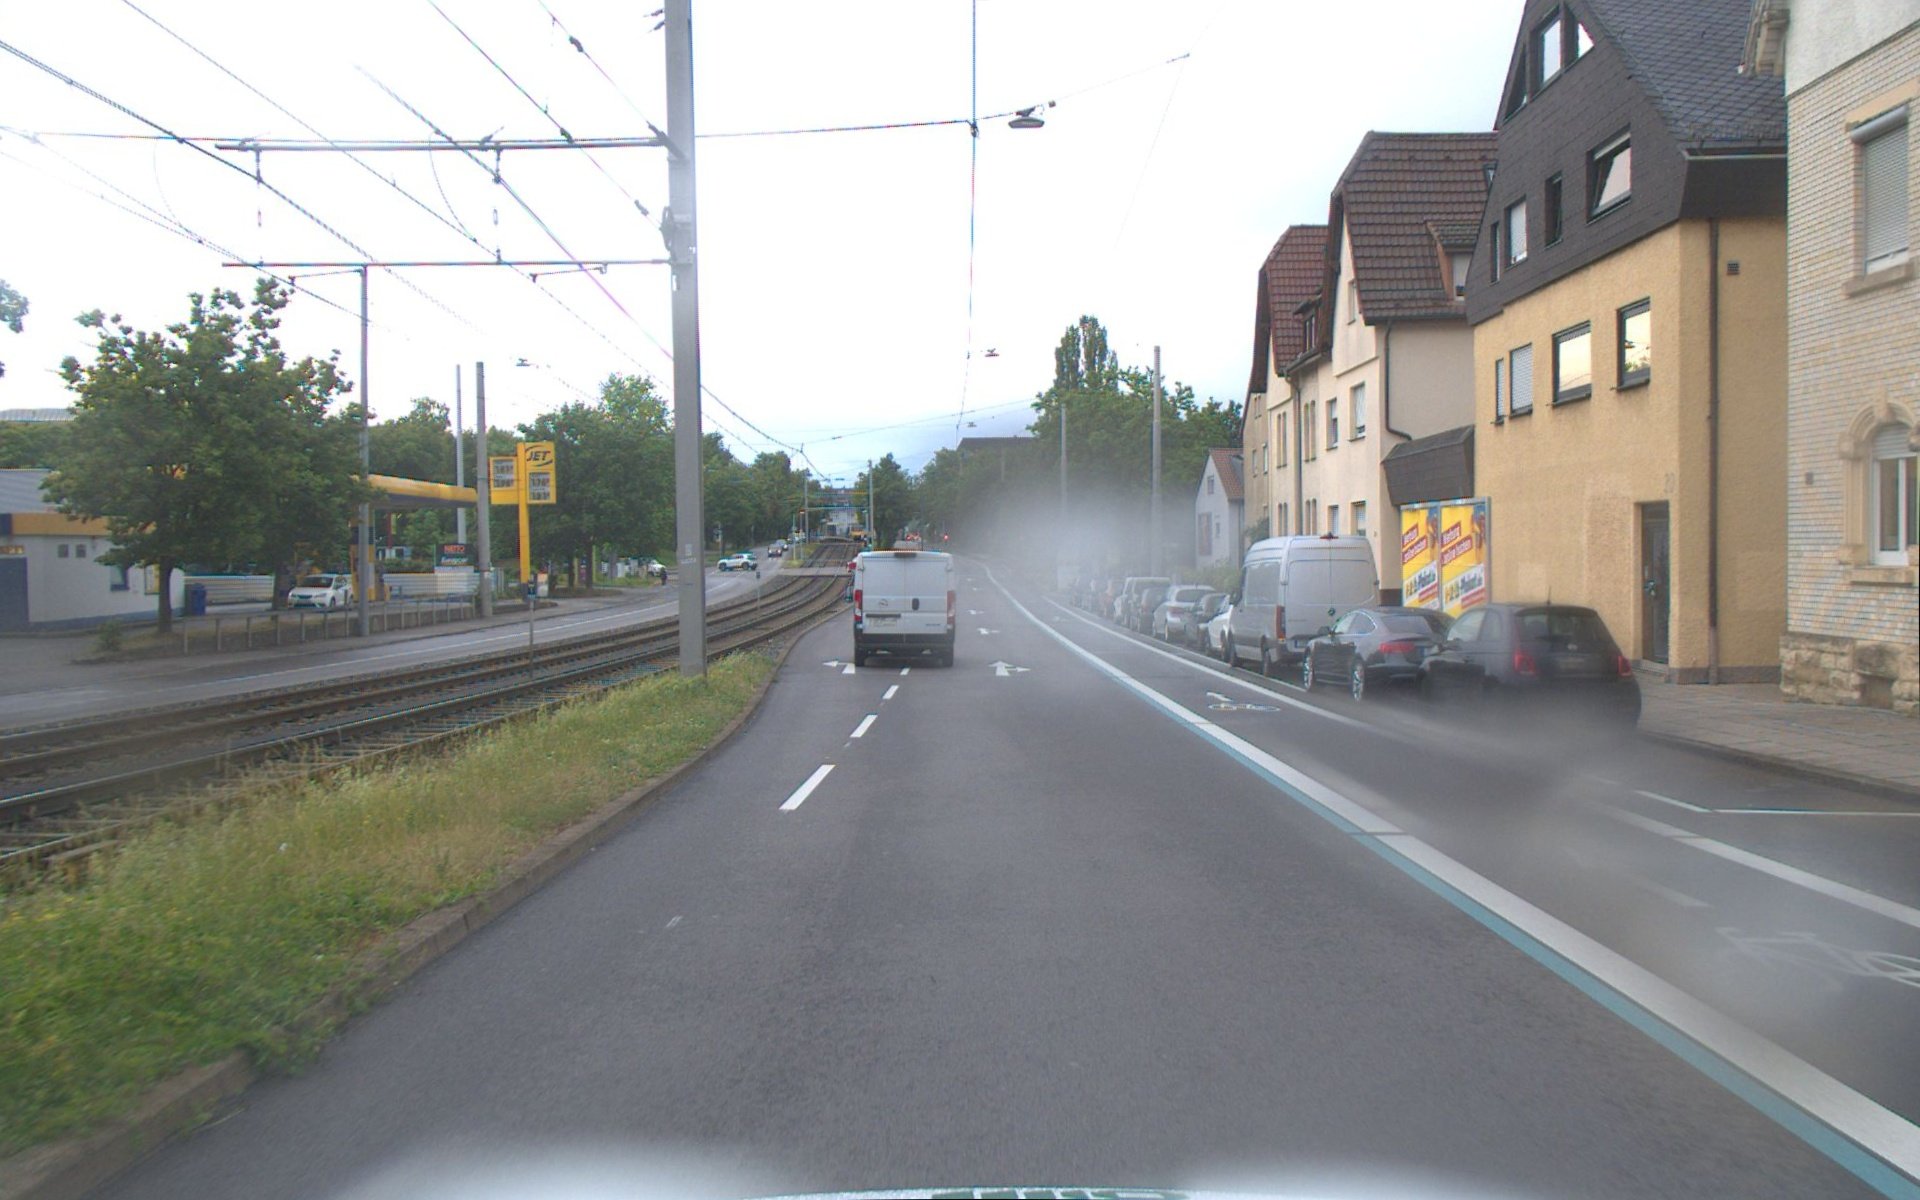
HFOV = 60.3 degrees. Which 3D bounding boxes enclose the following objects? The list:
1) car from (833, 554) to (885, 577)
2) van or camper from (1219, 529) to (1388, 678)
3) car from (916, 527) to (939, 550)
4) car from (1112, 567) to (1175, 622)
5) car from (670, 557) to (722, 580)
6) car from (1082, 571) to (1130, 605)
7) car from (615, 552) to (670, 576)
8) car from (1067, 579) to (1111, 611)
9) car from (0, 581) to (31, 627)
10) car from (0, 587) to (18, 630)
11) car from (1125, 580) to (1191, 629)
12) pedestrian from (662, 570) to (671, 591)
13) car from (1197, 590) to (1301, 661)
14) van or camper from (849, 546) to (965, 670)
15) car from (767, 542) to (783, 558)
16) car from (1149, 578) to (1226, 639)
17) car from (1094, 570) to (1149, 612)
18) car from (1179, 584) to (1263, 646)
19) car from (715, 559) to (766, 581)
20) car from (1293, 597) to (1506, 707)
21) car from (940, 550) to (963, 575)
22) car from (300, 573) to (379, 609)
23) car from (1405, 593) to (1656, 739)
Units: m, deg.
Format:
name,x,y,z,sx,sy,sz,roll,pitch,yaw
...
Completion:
name,x,y,z,sx,sy,sz,roll,pitch,yaw
car,-9.092,-3.100,148.667,4.439,2.049,1.992,1,0,37
van or camper,6.556,-0.008,32.318,1.953,2.608,6.043,1,1,0
car,-3.151,-5.900,159.392,1.954,2.049,3.997,1,0,-4
car,6.537,-0.226,59.269,1.711,1.839,3.954,0,2,-2
car,-25.166,-2.995,157.650,4.420,2.049,2.000,1,0,21
car,6.756,-0.567,76.859,1.810,1.526,3.953,0,1,-2
car,-28.610,-3.259,149.204,4.416,2.049,2.002,1,0,10
car,6.420,-0.260,82.696,1.810,1.526,3.953,0,1,-2
car,-32.558,0.117,54.036,3.718,1.479,1.539,1,0,-26
car,-35.374,0.265,58.233,3.718,1.505,1.562,1,0,-26
car,6.408,0.108,53.832,1.613,1.471,3.954,1,1,-1
pedestrian,-21.975,-1.469,123.965,0.602,1.501,0.641,-1,1,-14
car,6.641,0.541,38.404,1.674,1.471,4.041,1,1,0
van or camper,-1.153,0.143,33.453,2.155,2.292,4.680,1,0,-4
car,-22.353,-6.053,199.842,1.656,1.741,3.775,1,0,-2
car,6.603,0.207,48.264,1.613,1.643,4.104,1,1,-1
car,6.726,-0.398,69.229,1.810,1.674,3.954,0,2,-2
car,6.726,0.348,42.903,1.592,1.473,3.708,1,1,1
car,-21.254,-2.946,160.017,4.420,2.049,2.000,1,0,21
car,6.548,0.723,25.184,1.753,1.430,4.550,1,1,-4
car,-0.757,-3.199,141.285,1.953,2.049,3.999,1,0,-1
car,-26.413,-0.390,70.540,1.954,1.467,3.998,-1,0,-3
car,6.588,0.701,19.484,1.534,1.524,3.510,1,0,-4
